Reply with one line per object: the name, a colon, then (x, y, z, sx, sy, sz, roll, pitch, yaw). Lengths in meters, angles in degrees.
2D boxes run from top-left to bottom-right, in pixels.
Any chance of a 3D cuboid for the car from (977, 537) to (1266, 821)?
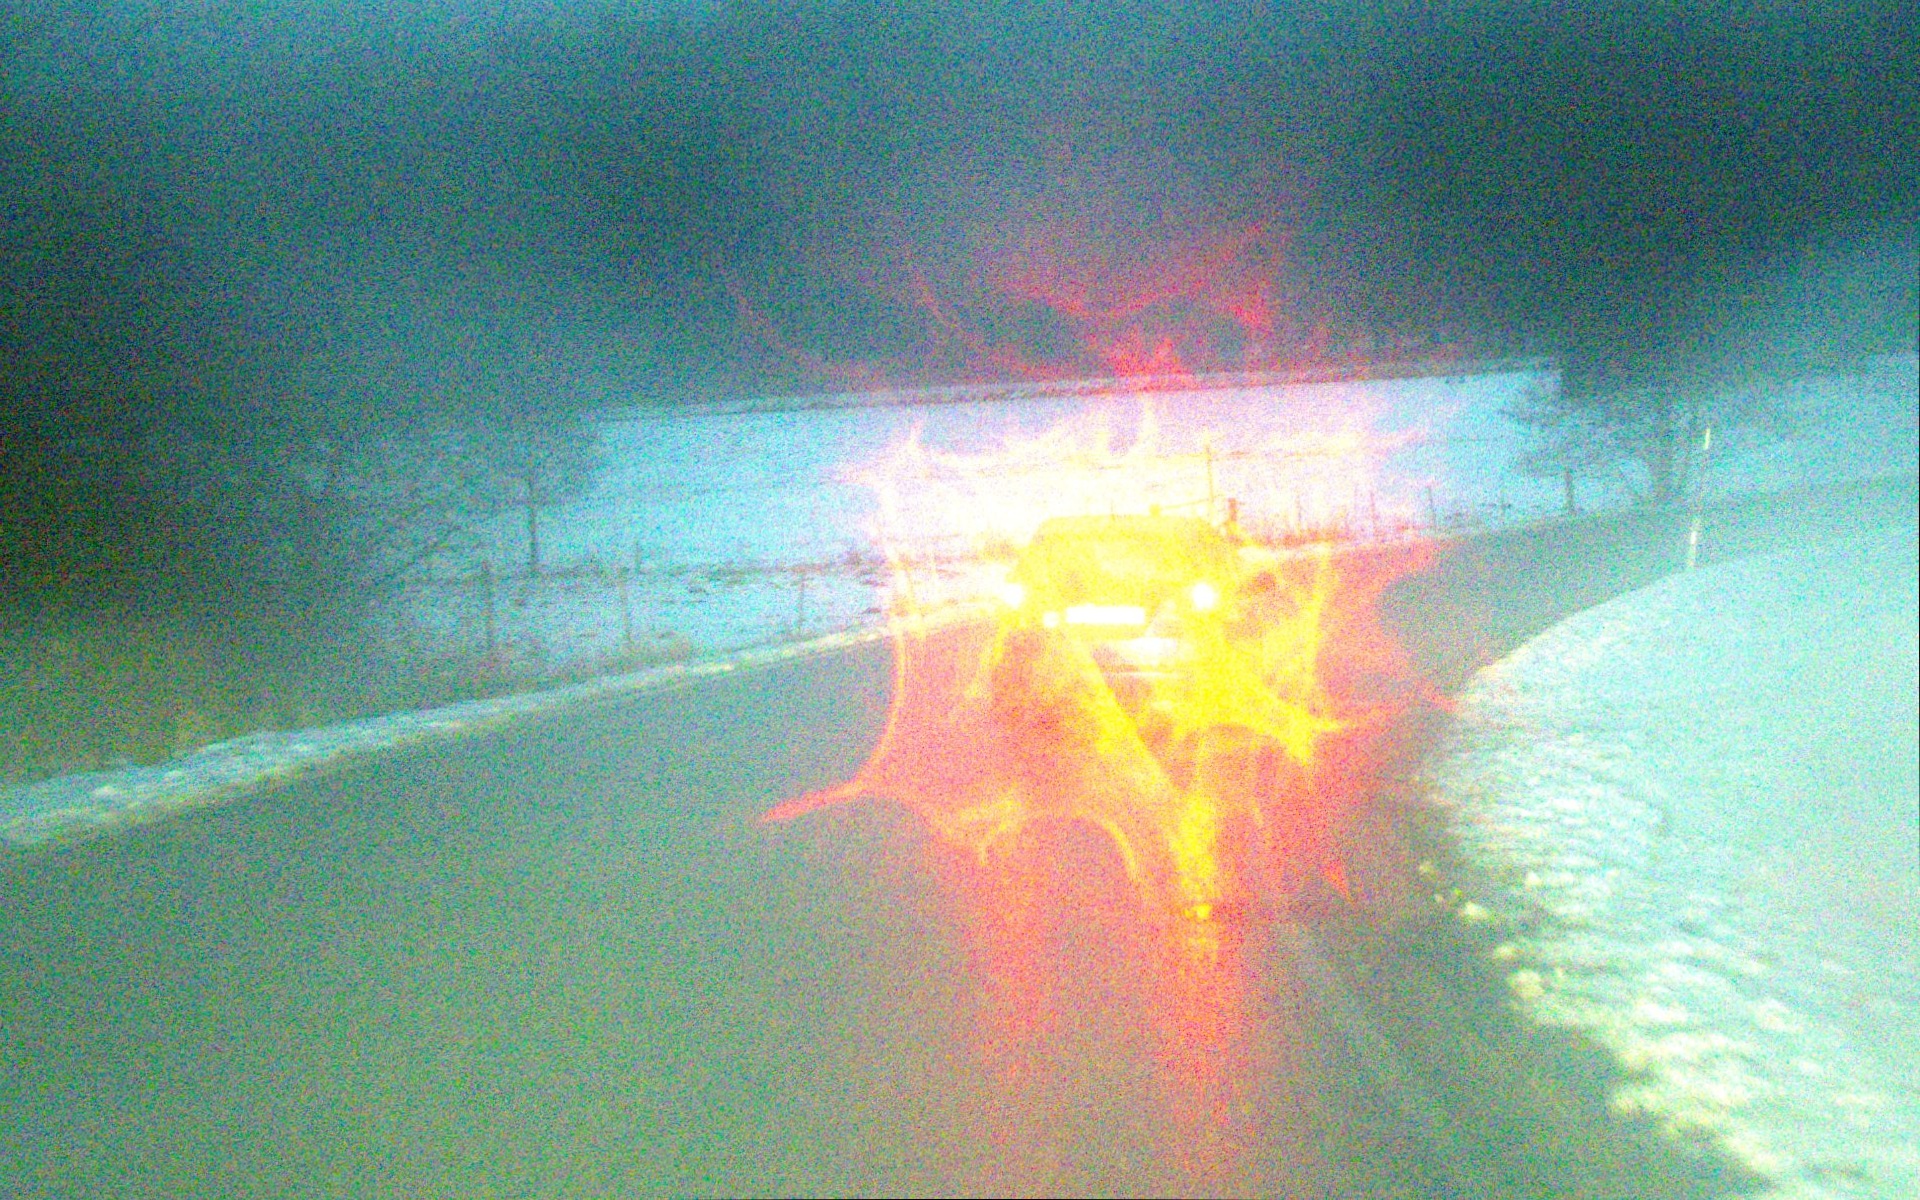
car: (1.214, 0.492, 24.302, 1.822, 1.790, 3.577, -2, 1, 5)
